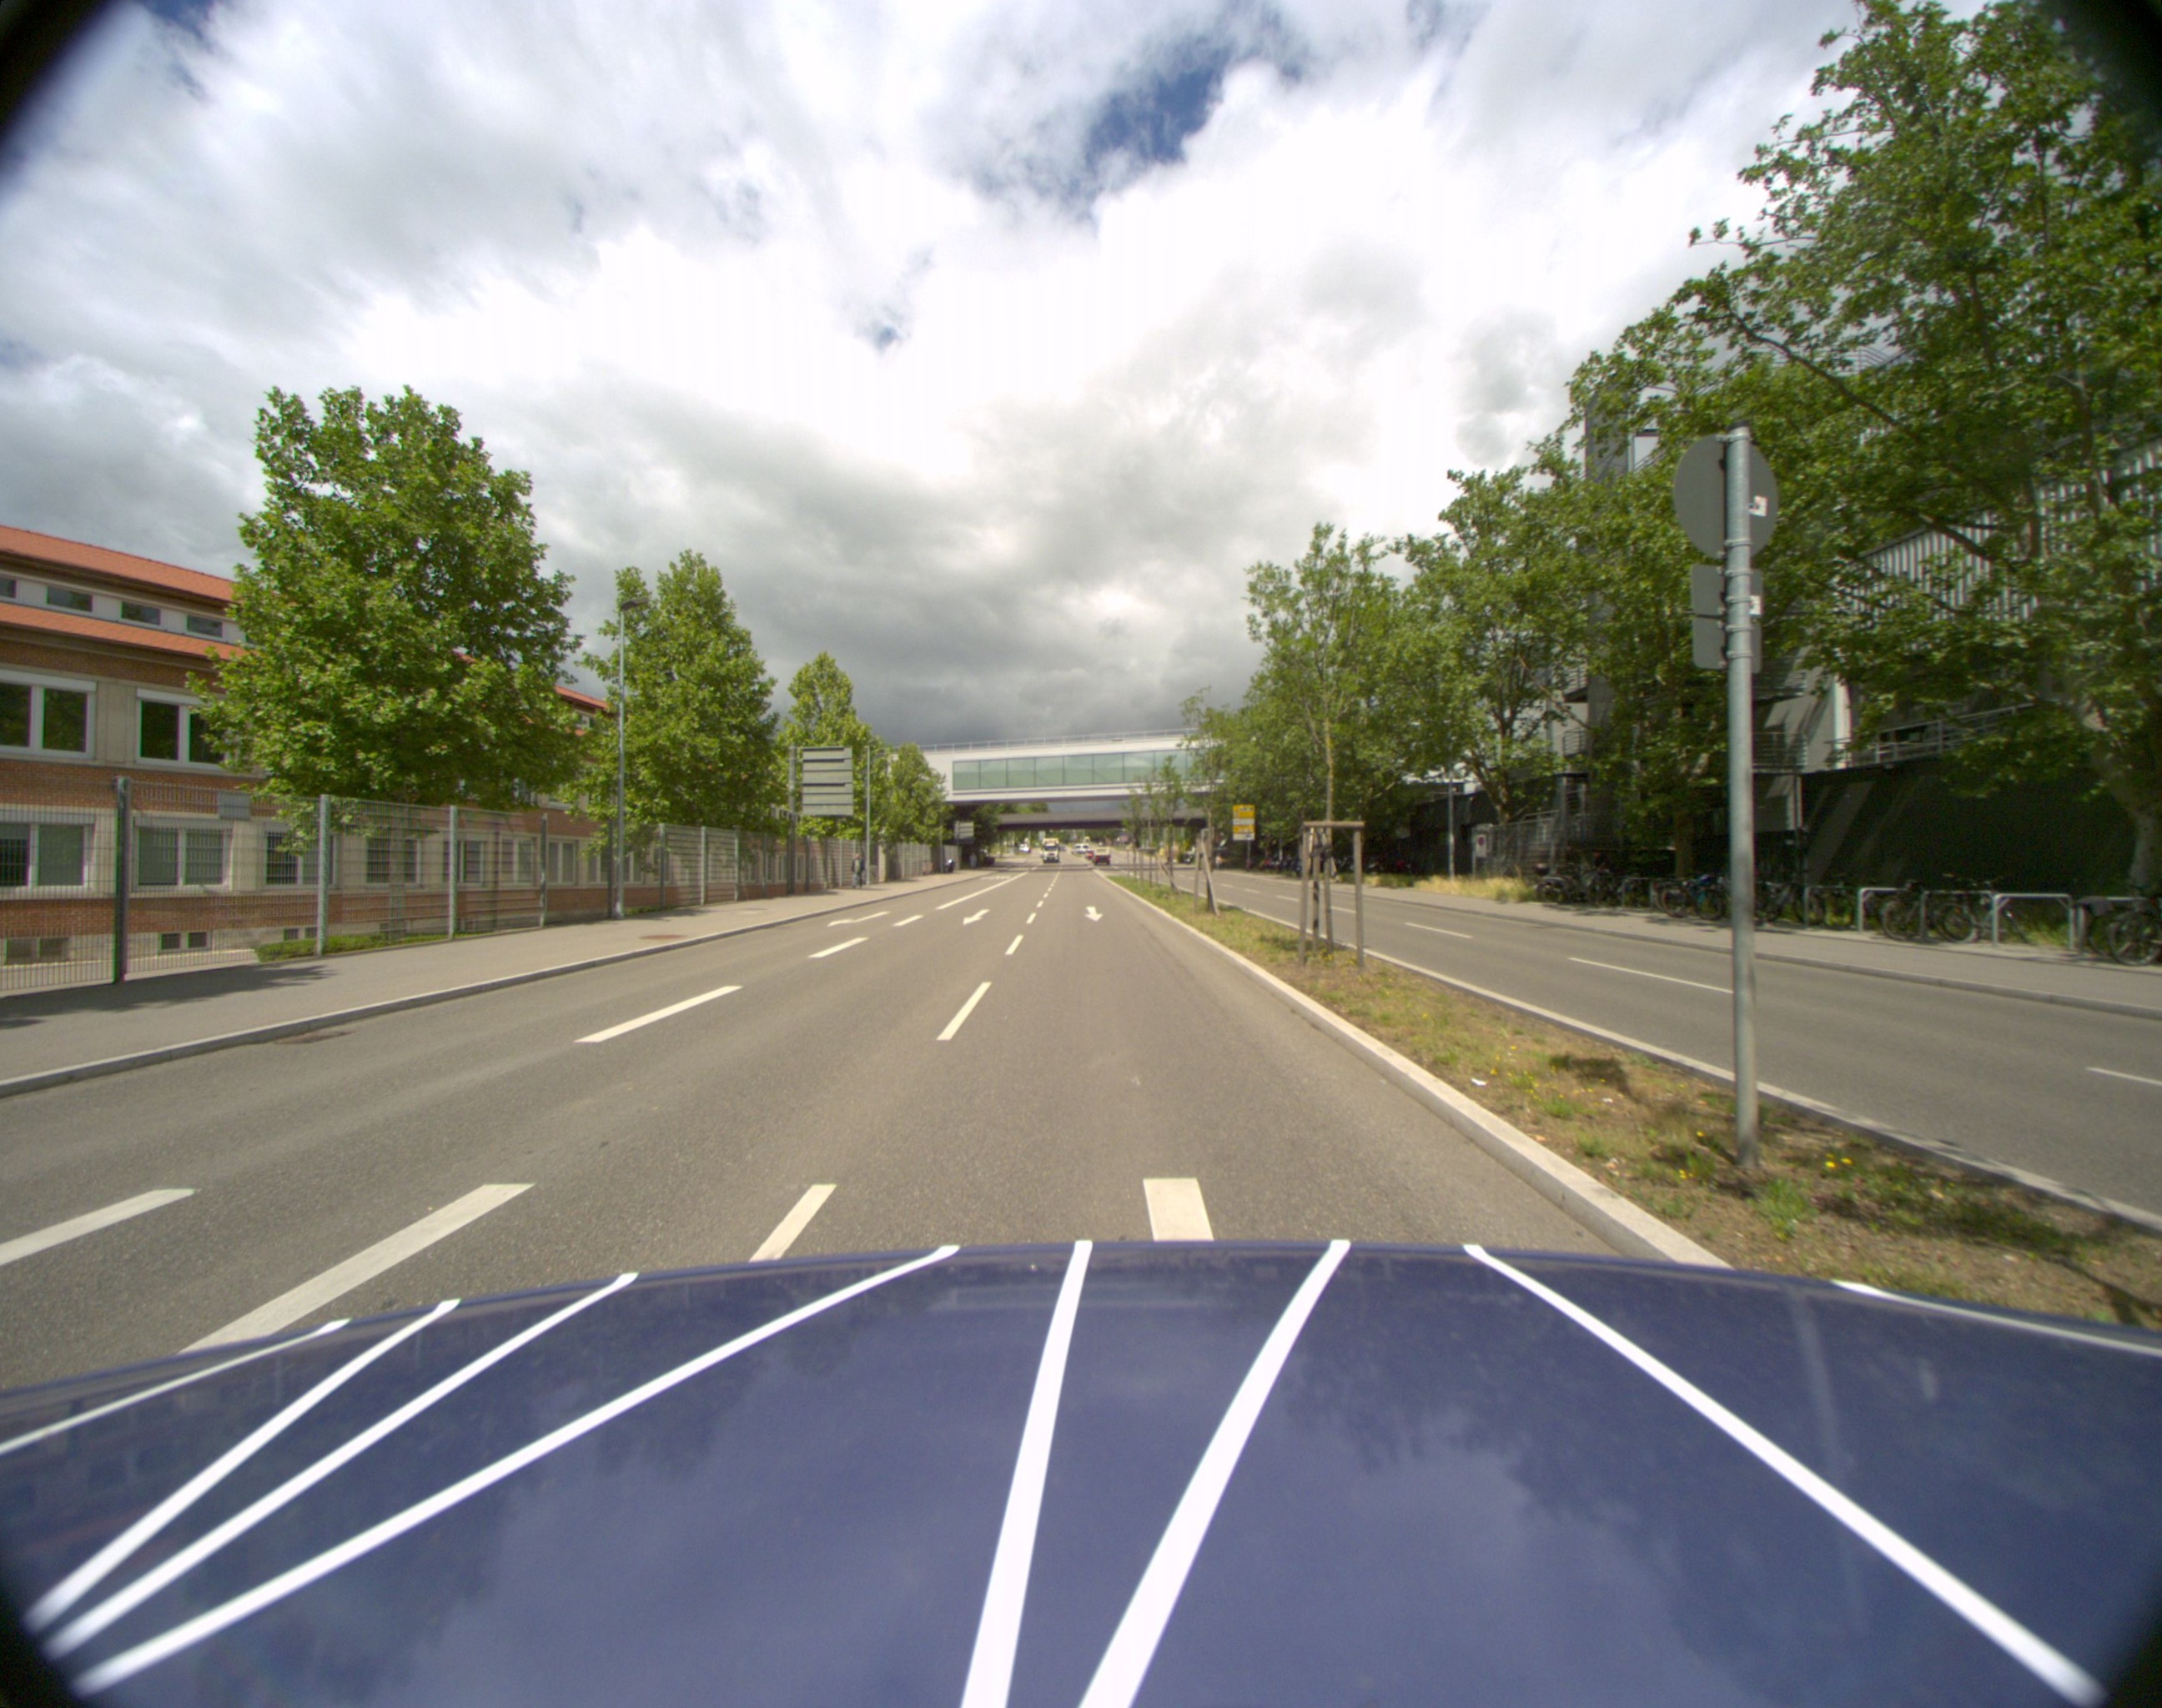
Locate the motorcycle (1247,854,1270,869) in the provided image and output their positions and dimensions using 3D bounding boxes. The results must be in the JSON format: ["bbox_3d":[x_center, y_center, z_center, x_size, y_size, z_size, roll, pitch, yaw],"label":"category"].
[{"bbox_3d":[14.956,0.618,63.925,1.745,1.164,0.777,-3,-1,8],"label":"motorcycle"}]

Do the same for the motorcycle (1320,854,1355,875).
[{"bbox_3d":[15.598,0.635,46.182,1.882,1.202,0.655,-3,-1,3],"label":"motorcycle"}]

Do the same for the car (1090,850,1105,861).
[{"bbox_3d":[2.433,0.262,114.481,1.910,1.621,4.291,-1,0,-4],"label":"car"}]

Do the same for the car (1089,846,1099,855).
[{"bbox_3d":[2.622,-0.770,152.520,1.813,1.770,4.977,-1,0,-1],"label":"car"}]

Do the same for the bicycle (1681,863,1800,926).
[{"bbox_3d":[14.341,0.874,16.566,1.923,1.275,0.806,-1,1,-2],"label":"bicycle"}]

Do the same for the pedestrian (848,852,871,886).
[{"bbox_3d":[-11.528,0.779,39.541,0.879,1.733,0.940,1,1,-1],"label":"pedestrian"}]

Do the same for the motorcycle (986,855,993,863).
[{"bbox_3d":[-12.274,0.670,101.484,0.679,1.148,2.112,0,1,0],"label":"motorcycle"}]

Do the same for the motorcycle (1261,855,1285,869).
[{"bbox_3d":[14.923,0.637,59.143,1.595,1.027,0.776,-3,-1,1],"label":"motorcycle"}]

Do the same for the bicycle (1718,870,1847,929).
[{"bbox_3d":[14.352,0.925,15.579,1.923,1.116,0.806,-1,1,-2],"label":"bicycle"}]

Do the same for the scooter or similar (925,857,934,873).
[{"bbox_3d":[-12.241,0.885,61.284,0.492,1.287,1.336,0,1,-1],"label":"scooter or similar"}]

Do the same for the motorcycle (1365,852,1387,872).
[{"bbox_3d":[18.570,0.530,47.880,0.654,1.202,1.984,-3,-1,4],"label":"motorcycle"}]

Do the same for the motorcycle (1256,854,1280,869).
[{"bbox_3d":[15.189,0.615,61.719,1.596,1.116,0.775,-3,-1,-9],"label":"motorcycle"}]

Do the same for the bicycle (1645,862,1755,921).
[{"bbox_3d":[14.318,0.848,17.603,1.923,1.275,0.806,-1,1,-2],"label":"bicycle"}]

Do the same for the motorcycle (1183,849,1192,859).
[{"bbox_3d":[12.735,0.002,91.138,0.641,1.191,2.257,-3,1,-1],"label":"motorcycle"}]

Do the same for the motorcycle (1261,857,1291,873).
[{"bbox_3d":[14.636,0.811,56.979,1.939,1.109,0.920,1,1,-12],"label":"motorcycle"}]

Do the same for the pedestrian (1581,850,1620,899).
[{"bbox_3d":[16.987,0.662,24.865,0.755,1.543,0.821,-1,1,10],"label":"pedestrian"}]

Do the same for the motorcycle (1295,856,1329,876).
[{"bbox_3d":[14.797,0.756,48.713,1.881,1.172,0.815,-3,-1,9],"label":"motorcycle"}]

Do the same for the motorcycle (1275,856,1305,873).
[{"bbox_3d":[15.209,0.766,55.241,1.933,1.109,0.923,-3,-1,27],"label":"motorcycle"}]

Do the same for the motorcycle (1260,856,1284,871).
[{"bbox_3d":[15.205,0.750,60.515,1.595,1.116,0.776,-3,-1,1],"label":"motorcycle"}]

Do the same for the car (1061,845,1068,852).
[{"bbox_3d":[-4.632,-1.472,217.901,1.999,2.002,3.999,-1,0,-1],"label":"car"}]

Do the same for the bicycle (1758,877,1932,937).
[{"bbox_3d":[14.750,1.004,14.690,2.844,1.000,0.850,-1,0,-9],"label":"bicycle"}]

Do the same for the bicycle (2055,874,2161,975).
[{"bbox_3d":[14.346,0.897,9.945,2.410,1.250,0.556,-1,1,2],"label":"bicycle"}]

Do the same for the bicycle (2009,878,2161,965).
[{"bbox_3d":[15.040,0.938,10.751,2.569,1.151,0.726,-1,0,10],"label":"bicycle"}]

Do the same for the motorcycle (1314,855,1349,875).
[{"bbox_3d":[15.603,0.702,47.289,1.882,1.172,0.698,-3,-1,3],"label":"motorcycle"}]

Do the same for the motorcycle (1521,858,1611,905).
[{"bbox_3d":[14.269,0.791,22.394,2.139,1.301,0.806,-1,1,-2],"label":"motorcycle"}]

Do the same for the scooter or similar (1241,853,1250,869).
[{"bbox_3d":[13.077,0.526,60.321,0.355,1.229,1.479,-2,1,-1],"label":"scooter or similar"}]

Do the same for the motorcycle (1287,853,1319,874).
[{"bbox_3d":[15.062,0.667,51.481,1.934,1.336,0.866,-3,-1,20],"label":"motorcycle"}]

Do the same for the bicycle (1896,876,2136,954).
[{"bbox_3d":[14.548,0.950,11.890,2.569,1.151,0.644,-1,1,10],"label":"bicycle"}]

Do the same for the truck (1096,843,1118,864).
[{"bbox_3d":[3.513,-0.047,104.989,2.486,2.735,6.456,-1,0,-3],"label":"truck"}]

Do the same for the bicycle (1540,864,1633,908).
[{"bbox_3d":[14.455,0.908,21.756,2.139,1.173,0.806,-1,1,-2],"label":"bicycle"}]

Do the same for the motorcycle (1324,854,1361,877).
[{"bbox_3d":[15.145,0.666,43.999,1.881,1.179,0.730,-3,0,8],"label":"motorcycle"}]

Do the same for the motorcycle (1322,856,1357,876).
[{"bbox_3d":[15.351,0.725,45.140,1.880,1.078,0.795,-3,-1,15],"label":"motorcycle"}]

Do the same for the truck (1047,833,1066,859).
[{"bbox_3d":[-3.890,-1.202,121.690,2.787,3.981,10.085,-1,0,-1],"label":"truck"}]

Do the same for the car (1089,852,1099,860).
[{"bbox_3d":[2.354,0.295,135.658,1.713,1.445,4.479,-1,0,0],"label":"car"}]

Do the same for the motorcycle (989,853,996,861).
[{"bbox_3d":[-12.083,0.416,103.915,0.679,1.137,2.160,0,1,-2],"label":"motorcycle"}]

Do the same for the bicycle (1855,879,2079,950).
[{"bbox_3d":[14.720,0.981,12.694,2.569,1.089,0.696,0,1,10],"label":"bicycle"}]

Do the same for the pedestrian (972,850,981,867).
[{"bbox_3d":[-11.404,0.486,83.064,0.791,1.877,1.097,0,1,-1],"label":"pedestrian"}]

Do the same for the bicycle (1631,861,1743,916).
[{"bbox_3d":[14.882,0.830,18.691,2.139,1.275,0.806,-1,1,-2],"label":"bicycle"}]

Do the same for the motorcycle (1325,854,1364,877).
[{"bbox_3d":[14.552,0.662,41.953,1.881,1.166,0.746,-3,-1,9],"label":"motorcycle"}]

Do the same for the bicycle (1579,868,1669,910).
[{"bbox_3d":[14.668,0.945,20.540,2.086,1.056,0.497,-1,1,-2],"label":"bicycle"}]

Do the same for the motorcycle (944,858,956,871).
[{"bbox_3d":[-11.813,0.947,68.484,0.670,1.058,2.246,2,0,-1],"label":"motorcycle"}]

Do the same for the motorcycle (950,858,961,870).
[{"bbox_3d":[-11.821,0.957,71.613,0.709,1.058,2.510,2,0,-1],"label":"motorcycle"}]

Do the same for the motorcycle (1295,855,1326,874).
[{"bbox_3d":[15.076,0.708,49.938,1.880,1.172,0.816,-3,-1,15],"label":"motorcycle"}]

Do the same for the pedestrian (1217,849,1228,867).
[{"bbox_3d":[13.159,0.388,70.865,0.769,1.603,0.813,-3,1,-1],"label":"pedestrian"}]

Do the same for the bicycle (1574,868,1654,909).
[{"bbox_3d":[14.721,0.942,21.010,1.929,1.068,0.422,-1,1,-2],"label":"bicycle"}]

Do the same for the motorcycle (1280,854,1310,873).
[{"bbox_3d":[15.126,0.659,53.791,1.934,1.283,0.894,-3,-1,20],"label":"motorcycle"}]

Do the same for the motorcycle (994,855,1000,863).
[{"bbox_3d":[-11.875,0.682,107.118,0.679,1.076,2.180,0,1,-2],"label":"motorcycle"}]
